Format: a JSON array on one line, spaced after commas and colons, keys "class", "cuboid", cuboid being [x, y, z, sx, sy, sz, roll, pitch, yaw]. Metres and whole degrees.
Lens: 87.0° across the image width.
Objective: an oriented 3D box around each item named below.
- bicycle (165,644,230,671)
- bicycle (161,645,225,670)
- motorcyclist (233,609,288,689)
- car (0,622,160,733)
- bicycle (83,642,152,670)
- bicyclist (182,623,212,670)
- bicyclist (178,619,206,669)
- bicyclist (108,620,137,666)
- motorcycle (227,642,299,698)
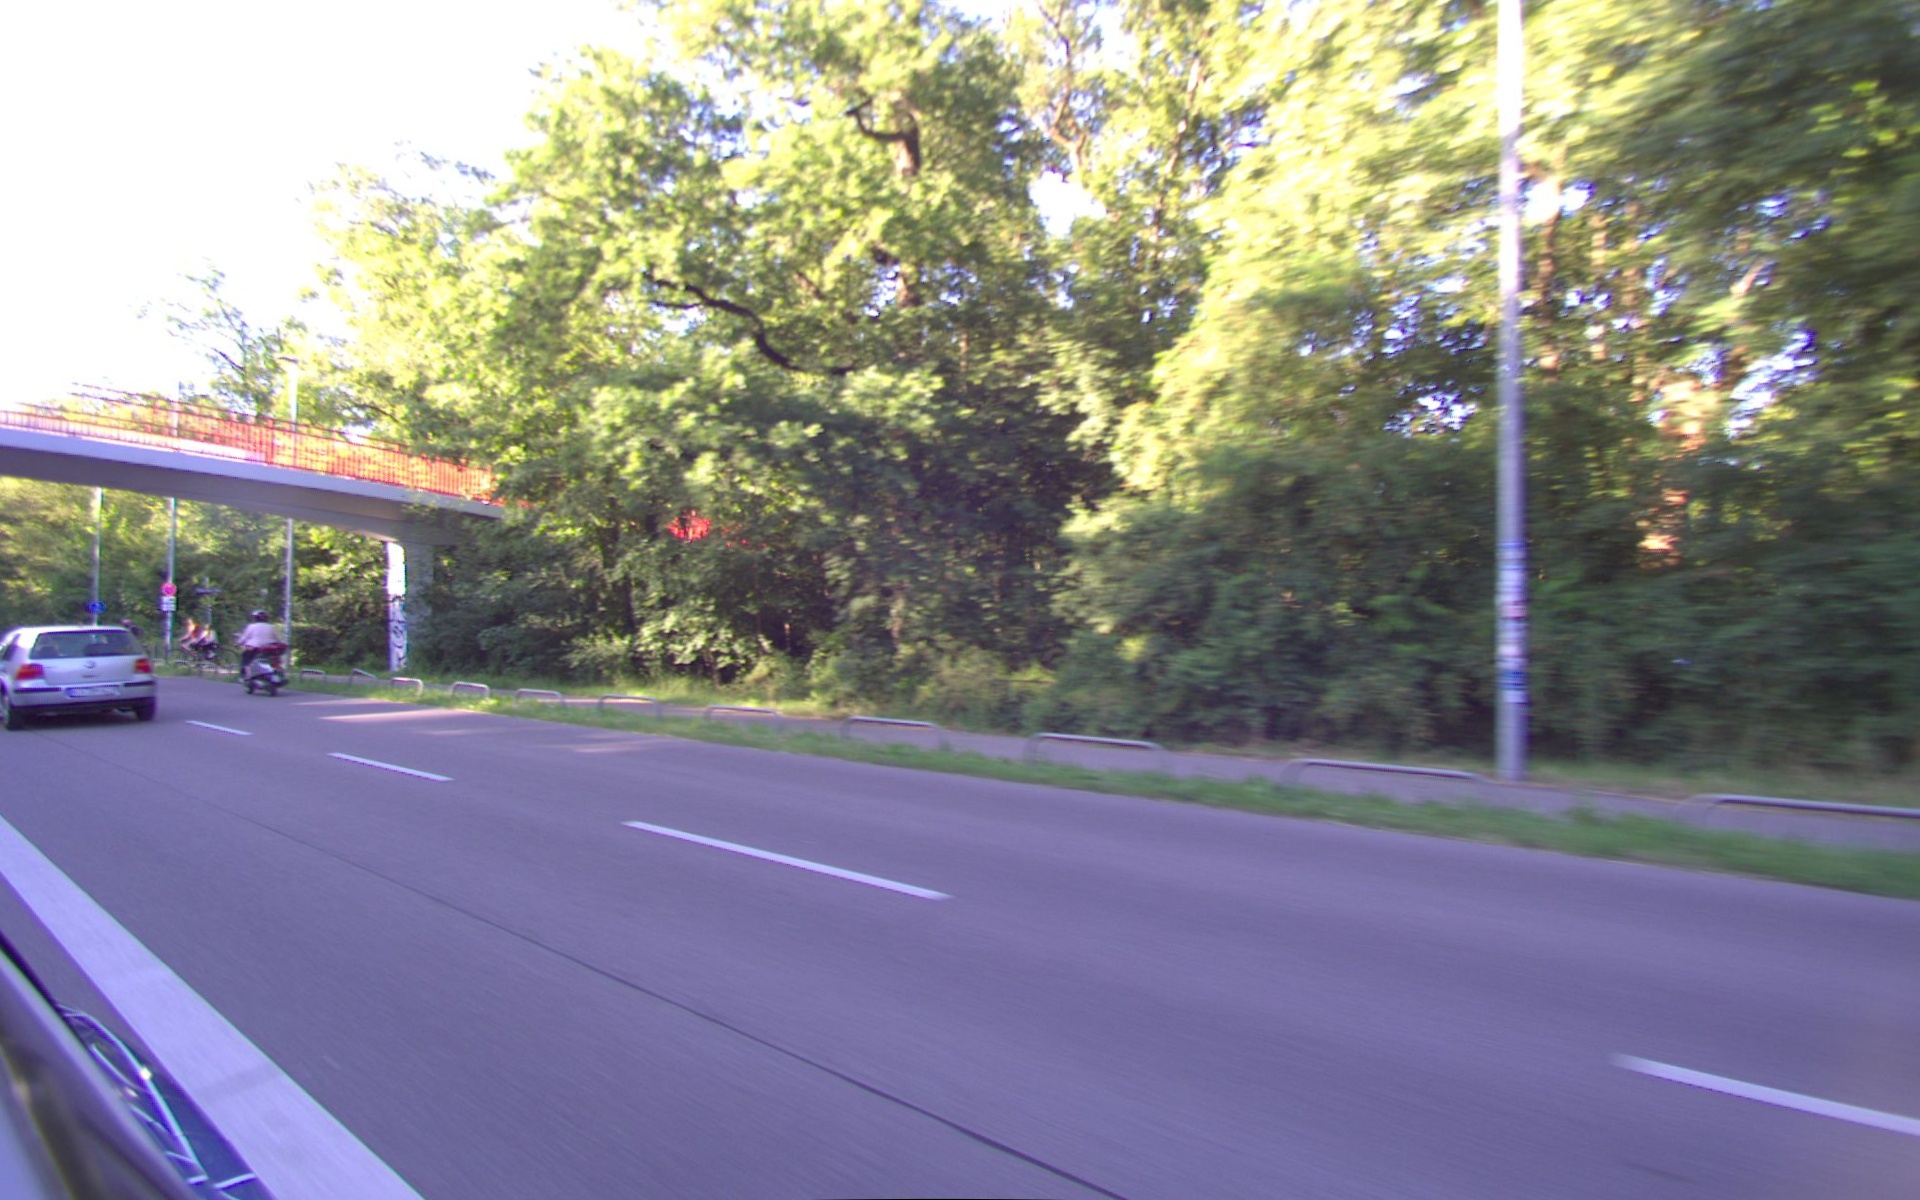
[{"class": "bicycle", "cuboid": [-28.784, 2.167, 38.210, 1.903, 0.941, 0.825, 1, -2, -42]}, {"class": "bicycle", "cuboid": [-29.677, 2.206, 39.153, 1.903, 0.941, 0.825, 2, -3, -42]}, {"class": "motorcyclist", "cuboid": [-13.639, 0.940, 19.731, 0.671, 1.517, 0.717, -1, -2, 40]}, {"class": "car", "cuboid": [-13.545, 1.073, 15.209, 3.887, 1.417, 1.664, -2, -1, 40]}, {"class": "bicycle", "cuboid": [-30.645, 2.032, 36.834, 1.903, 0.941, 0.825, 1, -2, -42]}, {"class": "bicyclist", "cuboid": [-28.813, 1.744, 38.213, 0.785, 1.710, 0.946, 1, -2, -42]}, {"class": "bicyclist", "cuboid": [-29.703, 1.681, 39.139, 0.785, 1.915, 0.818, 1, -2, -42]}, {"class": "bicyclist", "cuboid": [-30.561, 1.563, 36.921, 0.786, 1.656, 0.842, 1, -2, -42]}, {"class": "motorcycle", "cuboid": [-13.525, 1.334, 19.619, 2.075, 1.003, 0.630, -2, -1, 40]}]
